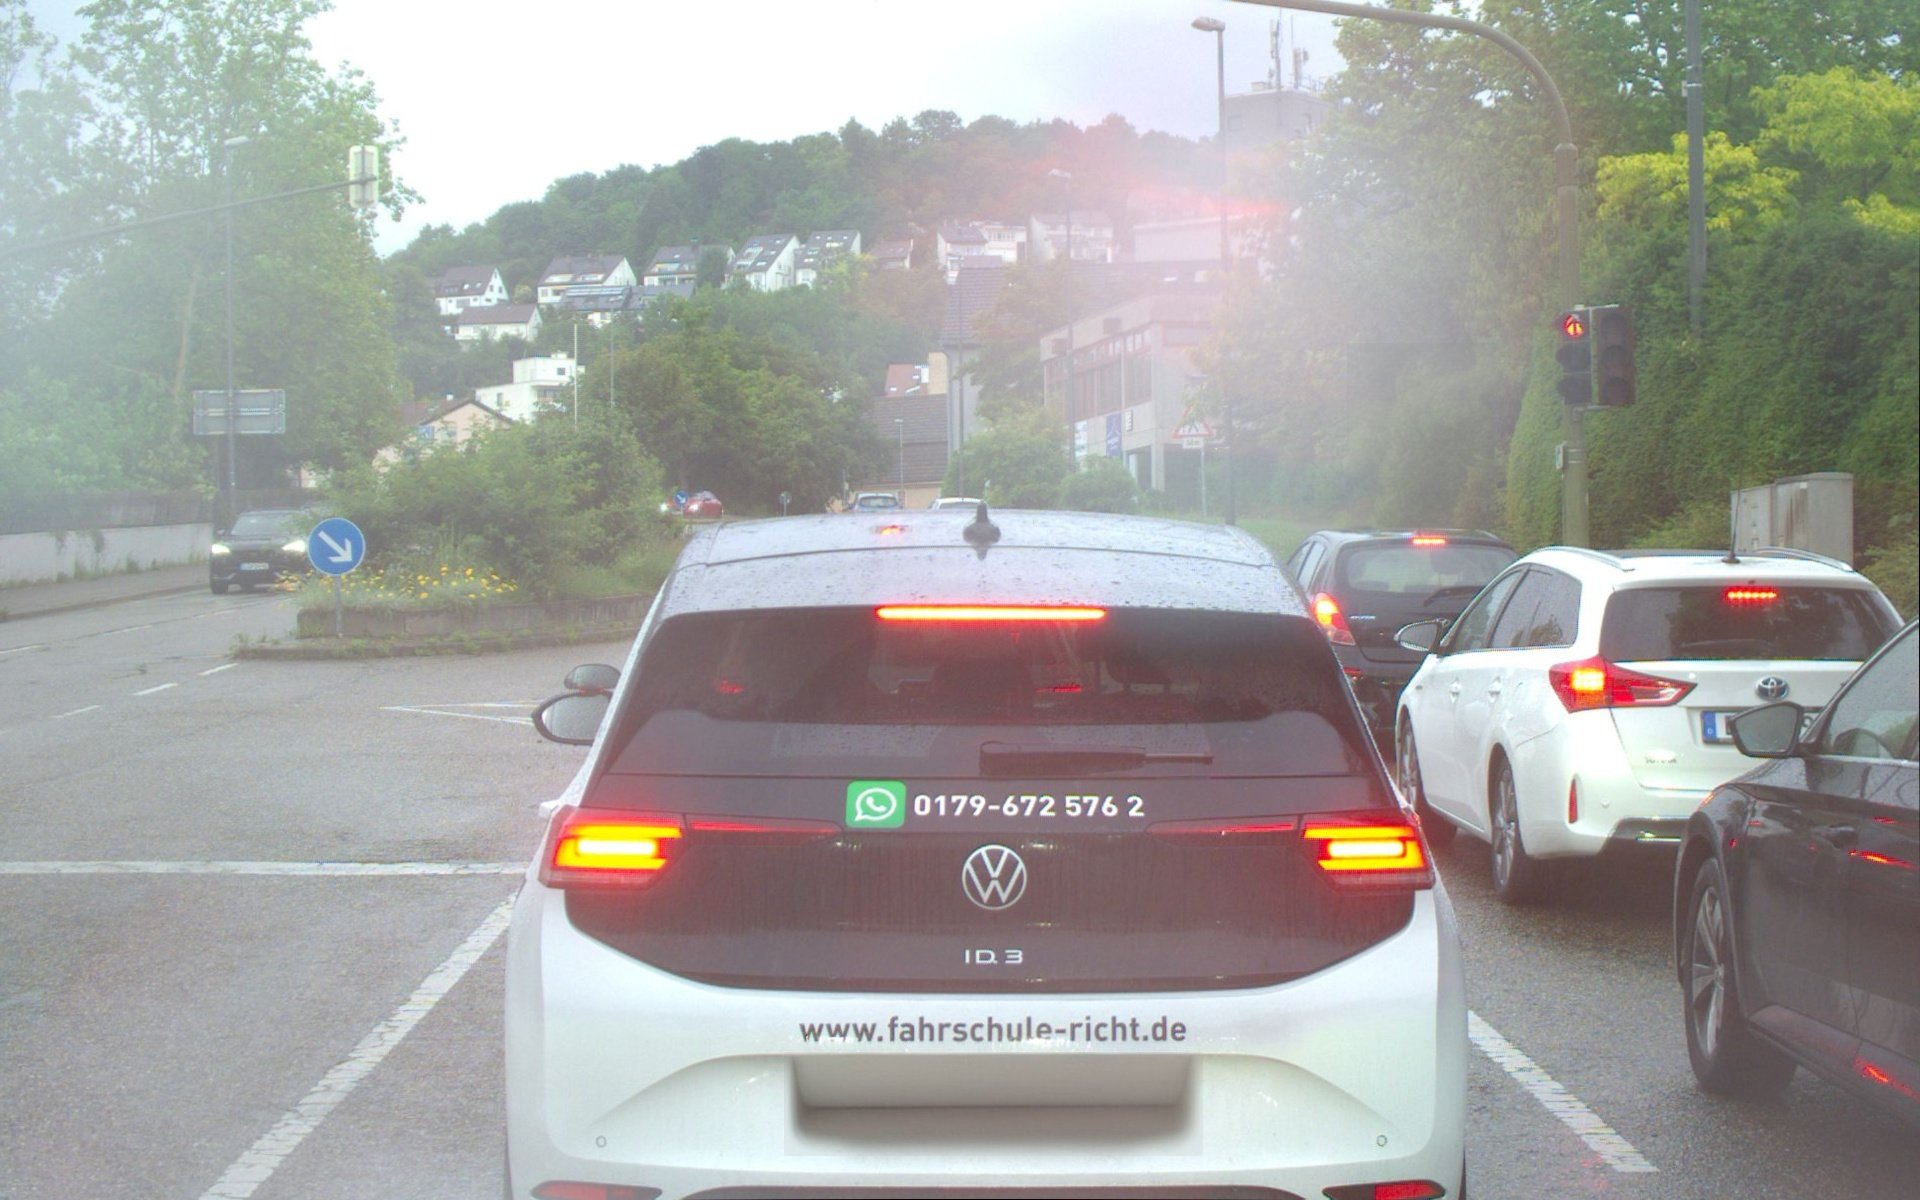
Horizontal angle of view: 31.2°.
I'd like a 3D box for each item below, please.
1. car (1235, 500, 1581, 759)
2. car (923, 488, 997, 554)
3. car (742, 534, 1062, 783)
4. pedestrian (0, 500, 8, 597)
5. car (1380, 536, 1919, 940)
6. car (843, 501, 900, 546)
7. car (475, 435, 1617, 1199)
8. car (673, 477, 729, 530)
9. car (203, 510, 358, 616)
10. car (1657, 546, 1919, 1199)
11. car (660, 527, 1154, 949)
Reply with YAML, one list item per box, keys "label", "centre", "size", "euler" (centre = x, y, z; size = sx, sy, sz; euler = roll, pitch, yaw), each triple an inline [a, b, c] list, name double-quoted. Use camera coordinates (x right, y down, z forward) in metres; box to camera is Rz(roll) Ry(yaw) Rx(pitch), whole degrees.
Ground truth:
- label: "car"
  centre: [2.948, 0.157, 23.393]
  size: [1.775, 1.576, 4.000]
  euler: [1, 1, 0]
- label: "car"
  centre: [-0.028, -1.819, 80.083]
  size: [1.581, 1.462, 4.000]
  euler: [-1, 1, -1]
- label: "car"
  centre: [-0.380, 0.306, 21.986]
  size: [1.837, 1.395, 3.831]
  euler: [1, 1, -1]
- label: "pedestrian"
  centre: [-15.830, -0.812, 55.263]
  size: [0.760, 1.562, 0.825]
  euler: [-2, 1, -1]
- label: "car"
  centre: [3.053, 0.484, 14.941]
  size: [1.837, 1.461, 4.117]
  euler: [1, 1, -1]
- label: "car"
  centre: [-2.928, -2.535, 112.893]
  size: [1.761, 1.413, 3.749]
  euler: [-1, 2, -3]
- label: "car"
  centre: [0.089, 0.508, 7.923]
  size: [1.837, 1.623, 4.616]
  euler: [1, 1, -1]
- label: "car"
  centre: [-10.545, -3.921, 140.183]
  size: [1.993, 2.007, 4.000]
  euler: [1, 0, 0]
- label: "car"
  centre: [-12.431, -0.692, 63.106]
  size: [1.993, 1.798, 4.000]
  euler: [-3, 1, 0]
- label: "car"
  centre: [2.864, 0.650, 7.469]
  size: [1.838, 1.461, 4.350]
  euler: [1, 1, 1]
- label: "car"
  centre: [-0.246, 0.480, 15.111]
  size: [1.837, 1.549, 4.175]
  euler: [1, 1, -1]
